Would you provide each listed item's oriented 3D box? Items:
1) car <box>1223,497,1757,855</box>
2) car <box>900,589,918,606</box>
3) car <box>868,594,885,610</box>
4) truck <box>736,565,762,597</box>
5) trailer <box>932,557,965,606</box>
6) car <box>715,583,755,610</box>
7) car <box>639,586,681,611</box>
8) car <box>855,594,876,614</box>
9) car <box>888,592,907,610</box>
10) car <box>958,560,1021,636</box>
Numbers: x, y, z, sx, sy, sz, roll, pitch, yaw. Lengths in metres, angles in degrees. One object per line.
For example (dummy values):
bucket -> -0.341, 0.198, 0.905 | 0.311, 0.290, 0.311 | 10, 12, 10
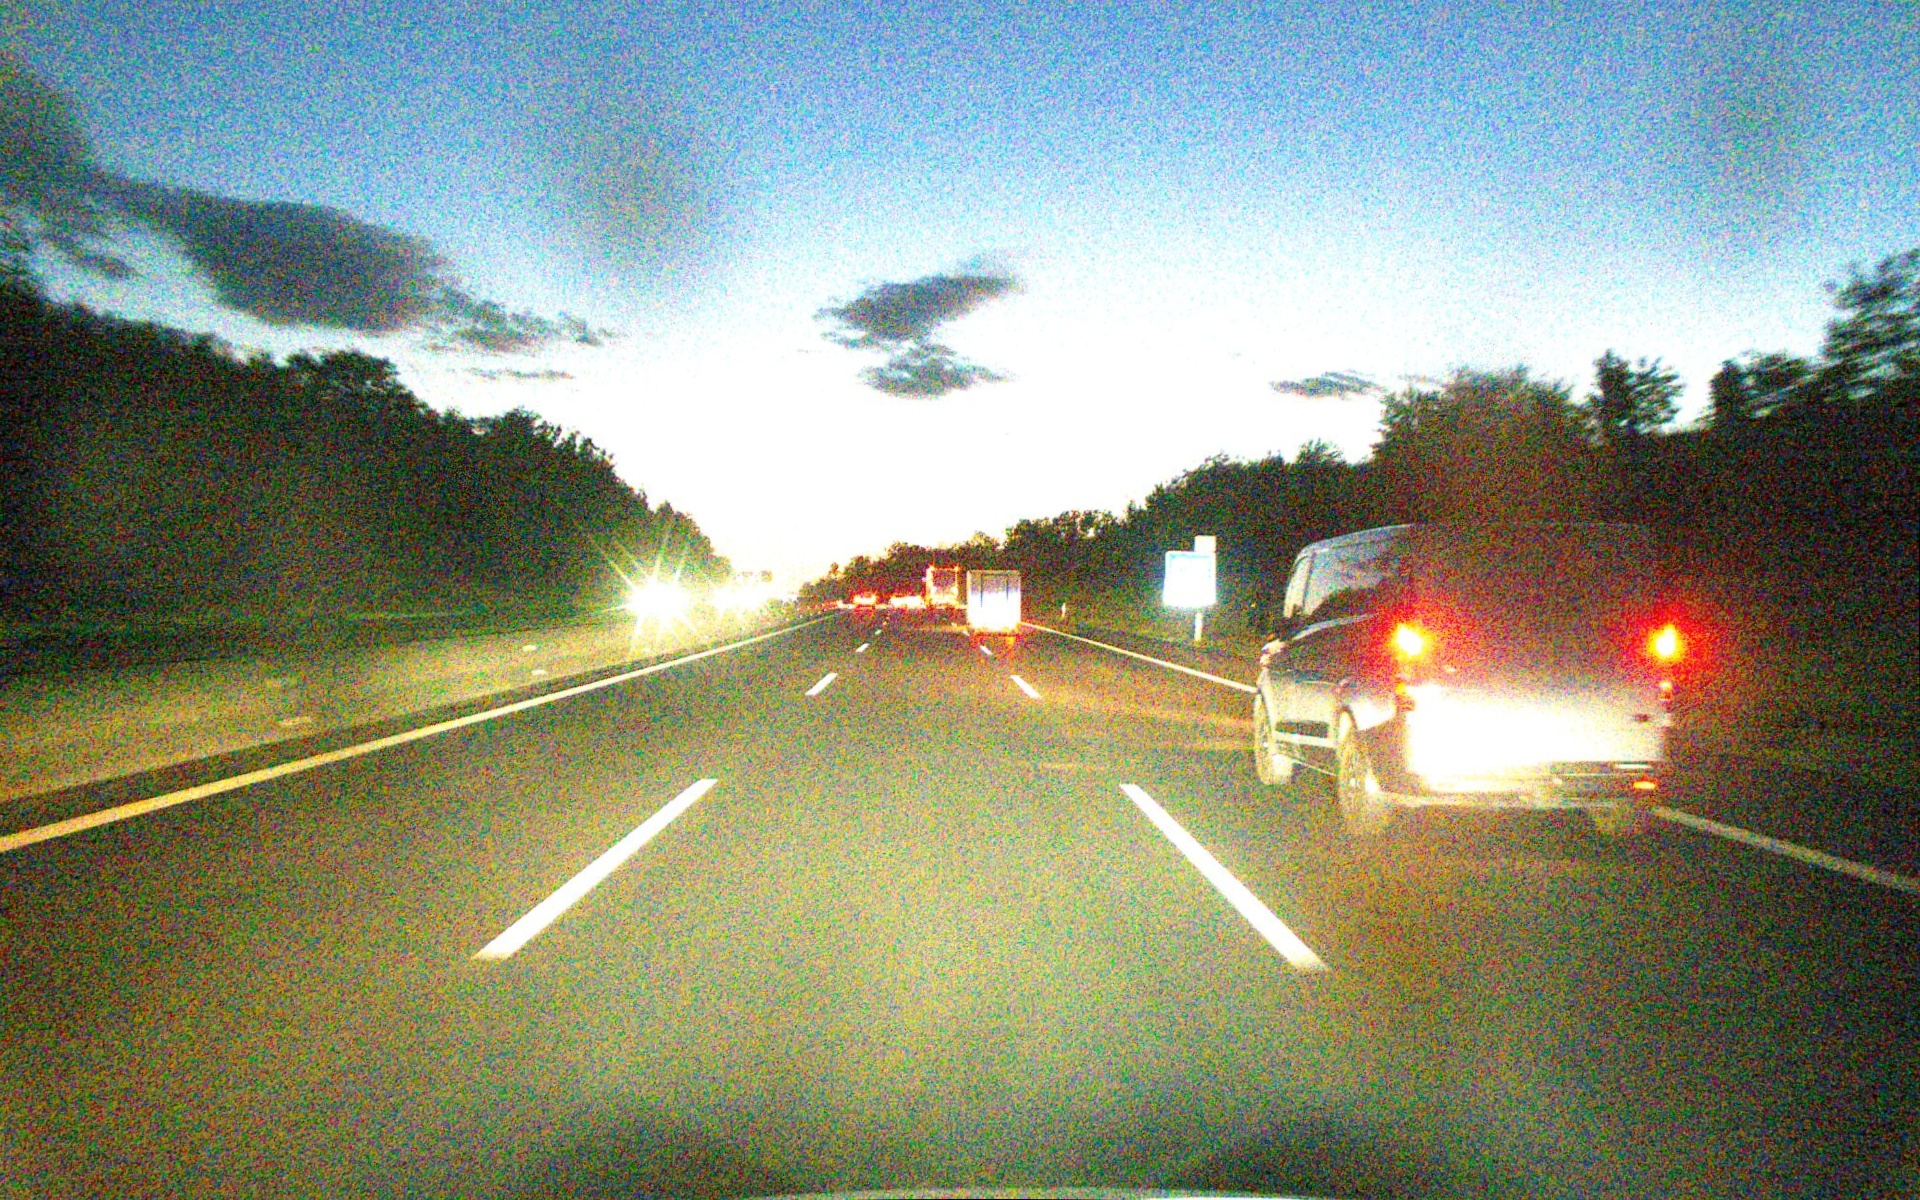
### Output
car -> 3.512, 0.449, 12.365 | 2.072, 2.036, 5.662 | 1, 0, -1
car -> -6.606, -0.307, 212.395 | 1.955, 2.154, 3.994 | 1, -2, -6
car -> -10.384, 0.224, 205.694 | 1.953, 1.848, 3.998 | 1, -2, -2
truck -> -27.279, -2.442, 214.129 | 2.797, 4.050, 5.856 | 1, 0, -3
trailer -> -1.260, -1.752, 167.763 | 2.772, 4.331, 17.039 | 1, -2, -2
car -> -14.479, -0.211, 106.588 | 1.969, 1.699, 4.482 | 0, 0, -1
car -> -18.514, -0.120, 102.217 | 1.970, 1.493, 4.207 | 1, 0, -2
car -> -9.209, 0.391, 161.136 | 1.954, 1.825, 3.997 | 1, -2, -3
car -> -6.753, 0.109, 178.727 | 1.953, 1.825, 3.998 | 1, -2, -1
car -> 1.055, -0.061, 62.401 | 1.991, 2.693, 5.722 | 1, 0, -3
